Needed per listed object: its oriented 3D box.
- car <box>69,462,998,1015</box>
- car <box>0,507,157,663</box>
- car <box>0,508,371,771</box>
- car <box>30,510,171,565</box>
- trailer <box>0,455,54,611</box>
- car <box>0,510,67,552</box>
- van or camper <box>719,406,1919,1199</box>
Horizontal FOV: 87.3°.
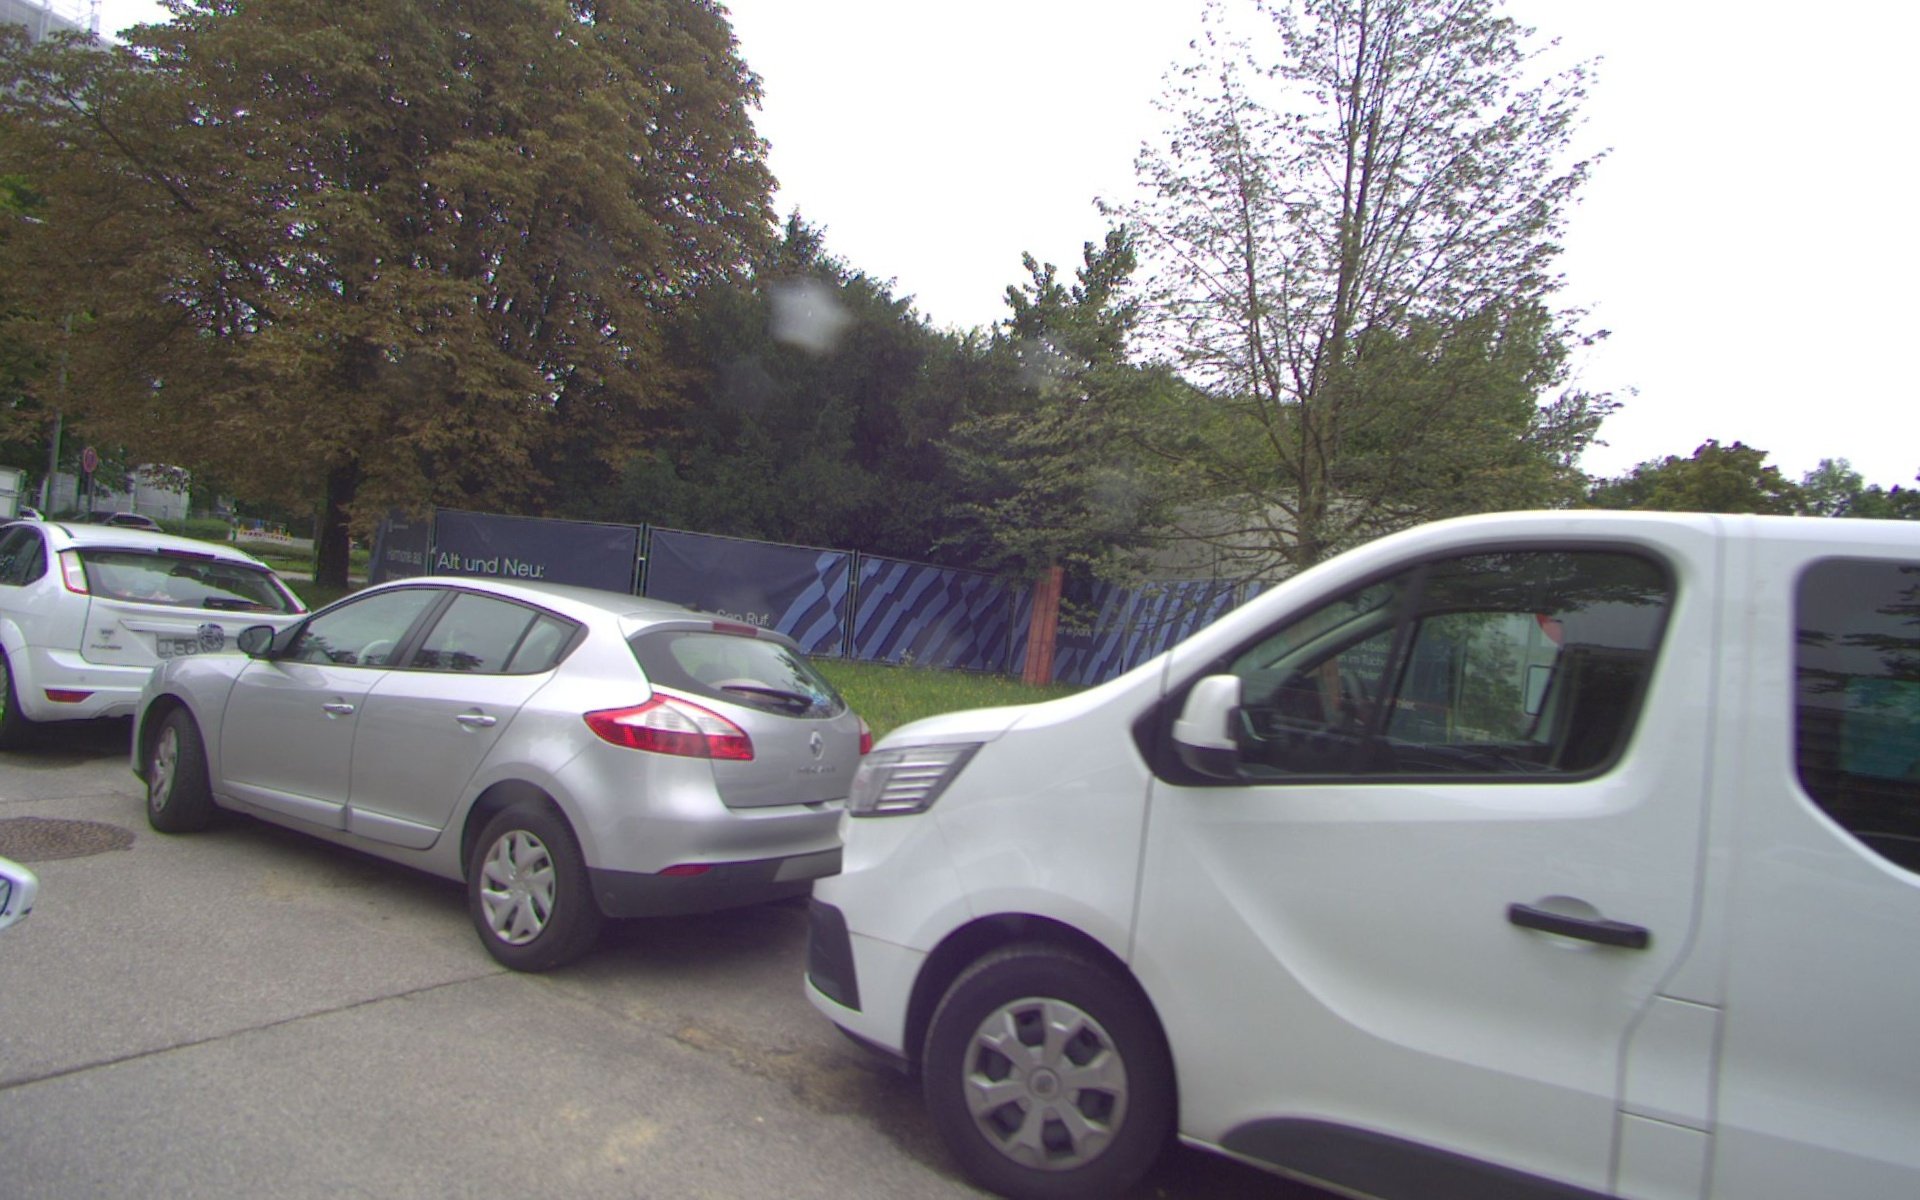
[{"bbox_3d":[-2.277,0.409,5.247,4.372,1.748,1.999,6,-2,28],"label":"car"},{"bbox_3d":[-10.783,-0.303,11.202,4.263,1.455,1.871,6,0,38],"label":"car"},{"bbox_3d":[-6.580,0.148,7.761,4.153,1.504,1.768,6,-1,34],"label":"car"},{"bbox_3d":[-36.749,-2.616,43.187,1.856,1.624,4.403,6,-3,6],"label":"car"},{"bbox_3d":[-14.675,-1.077,14.777,1.802,2.038,4.779,7,-1,-41],"label":"trailer"},{"bbox_3d":[-37.080,-2.771,38.653,1.769,1.400,4.218,6,-1,-3],"label":"car"},{"bbox_3d":[2.166,0.734,2.758,5.282,2.038,1.999,6,-1,26],"label":"van or camper"}]
